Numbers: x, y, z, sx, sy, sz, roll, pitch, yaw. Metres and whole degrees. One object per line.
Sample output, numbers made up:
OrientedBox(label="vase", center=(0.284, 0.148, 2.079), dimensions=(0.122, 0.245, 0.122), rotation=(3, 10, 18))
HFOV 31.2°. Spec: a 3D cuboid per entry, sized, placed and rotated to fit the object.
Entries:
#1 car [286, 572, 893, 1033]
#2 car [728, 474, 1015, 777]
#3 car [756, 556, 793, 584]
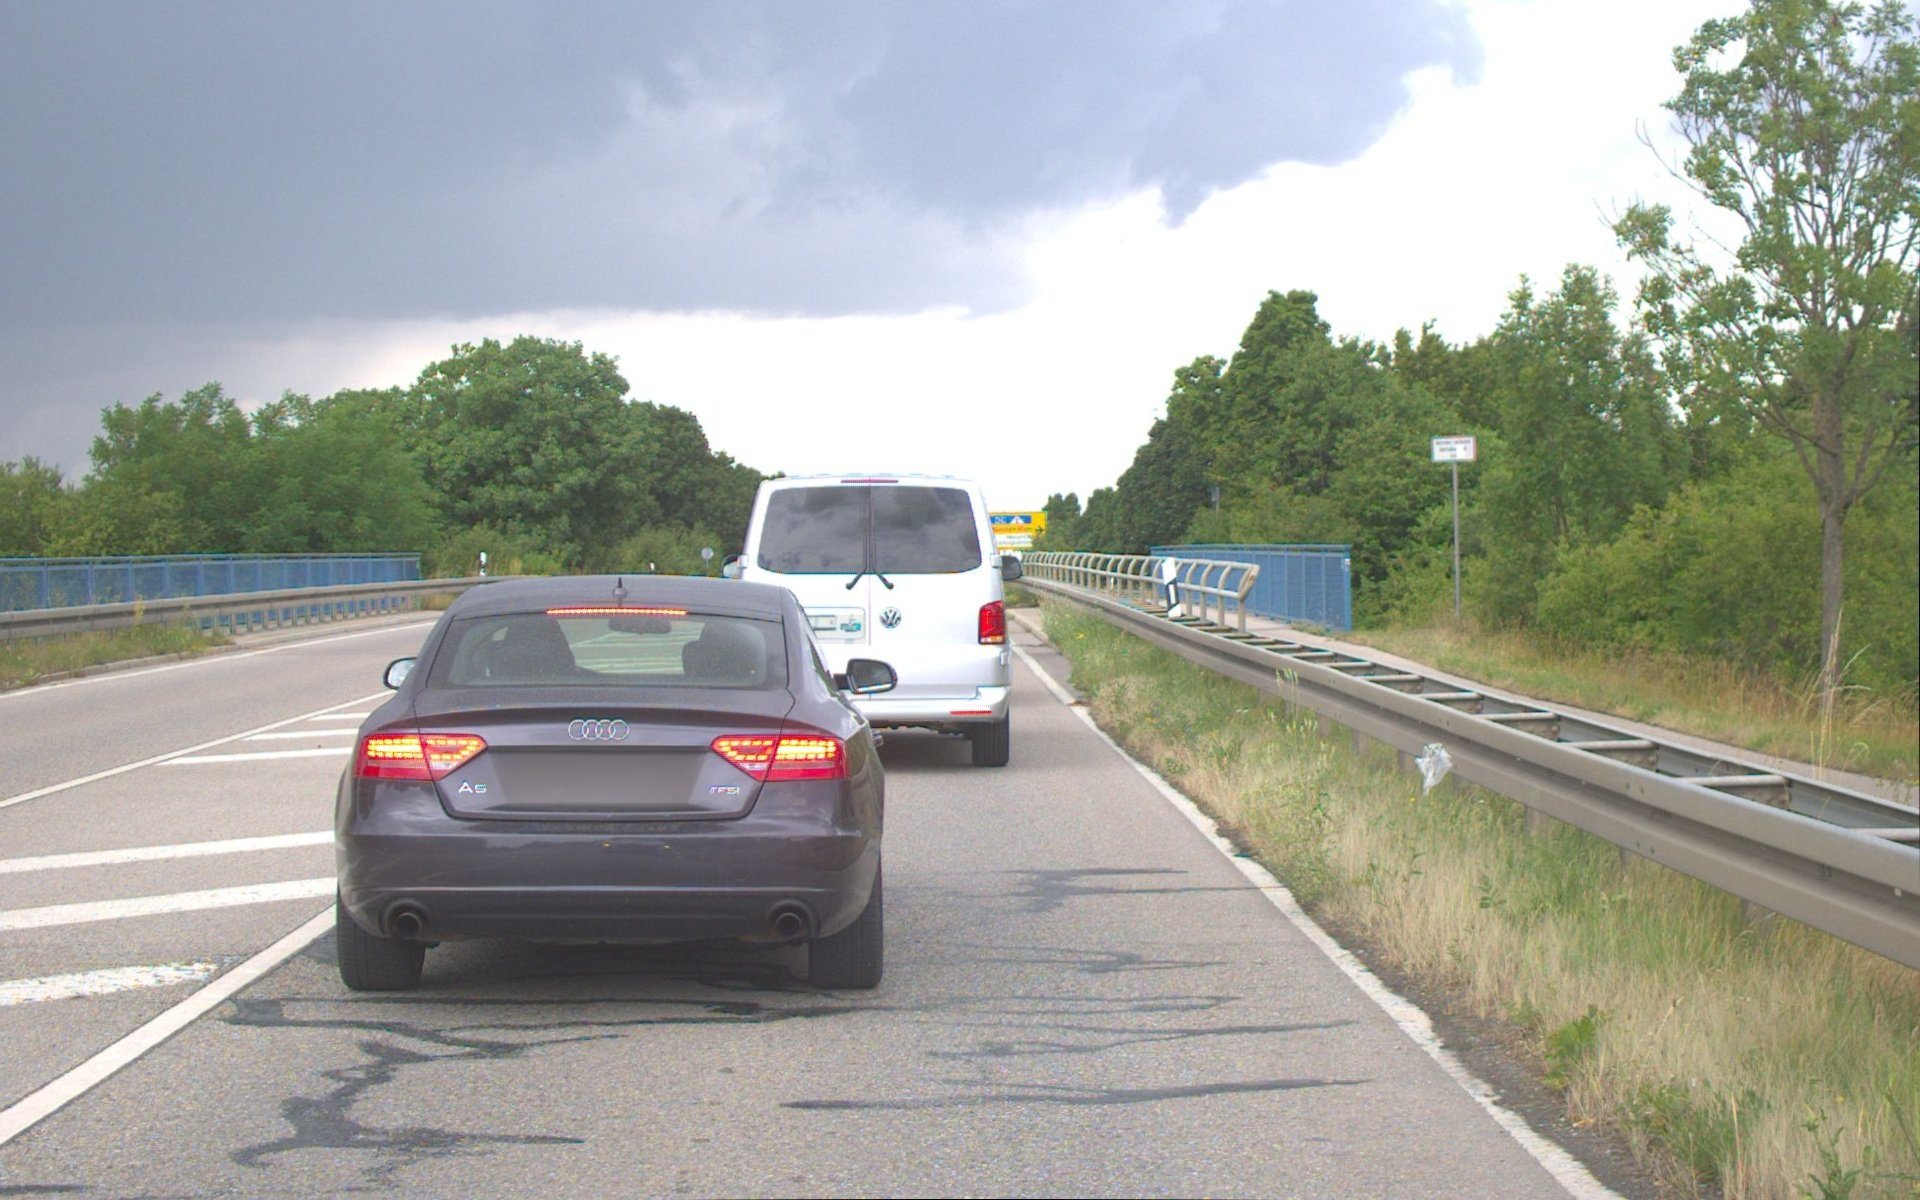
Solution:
OrientedBox(label="car", center=(-1.177, 0.608, 12.608), dimensions=(1.821, 1.376, 4.072), rotation=(-1, 1, -1))
OrientedBox(label="car", center=(-0.596, 0.135, 24.127), dimensions=(1.828, 1.929, 4.000), rotation=(-1, 1, -1))
OrientedBox(label="car", center=(-9.606, -1.570, 178.163), dimensions=(1.799, 1.445, 4.446), rotation=(-1, 1, -2))
